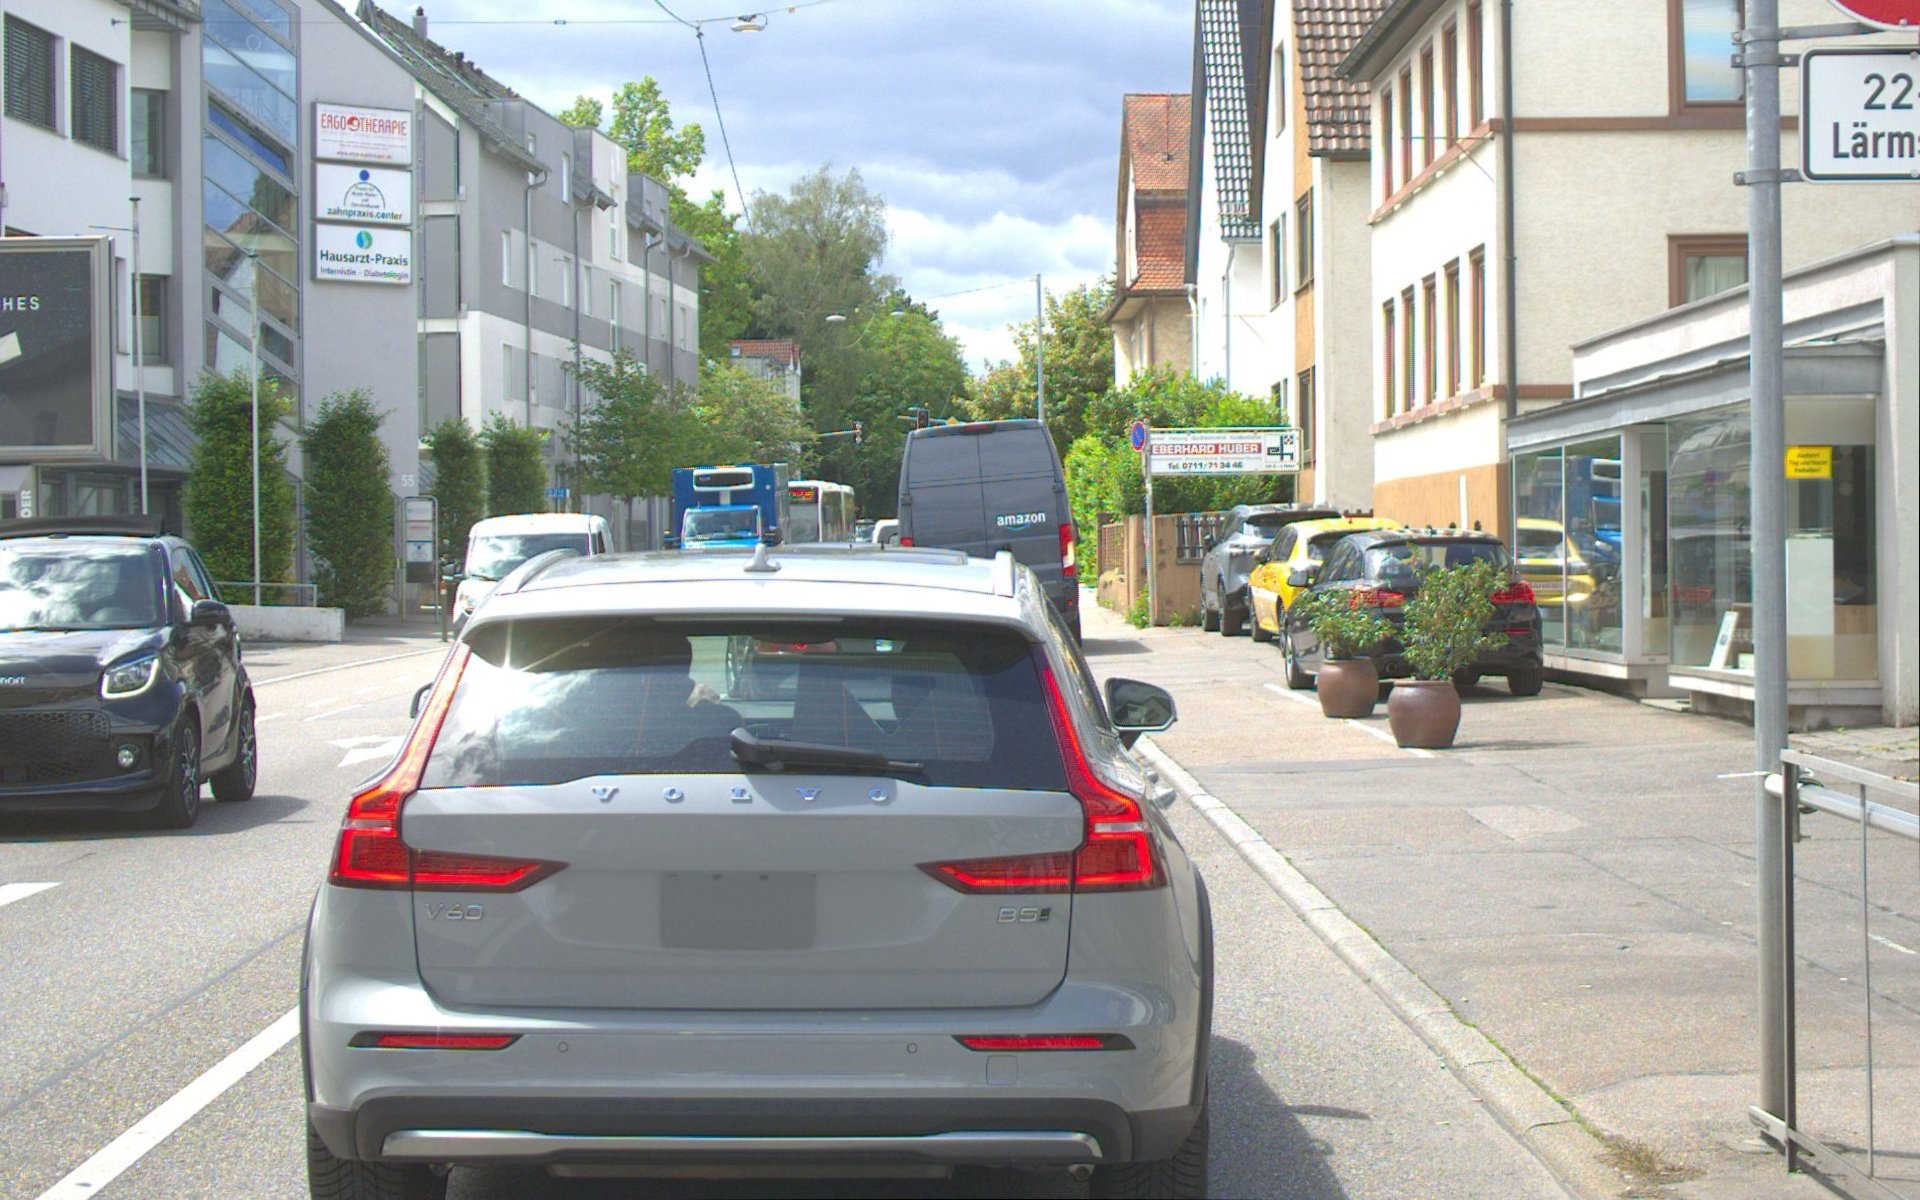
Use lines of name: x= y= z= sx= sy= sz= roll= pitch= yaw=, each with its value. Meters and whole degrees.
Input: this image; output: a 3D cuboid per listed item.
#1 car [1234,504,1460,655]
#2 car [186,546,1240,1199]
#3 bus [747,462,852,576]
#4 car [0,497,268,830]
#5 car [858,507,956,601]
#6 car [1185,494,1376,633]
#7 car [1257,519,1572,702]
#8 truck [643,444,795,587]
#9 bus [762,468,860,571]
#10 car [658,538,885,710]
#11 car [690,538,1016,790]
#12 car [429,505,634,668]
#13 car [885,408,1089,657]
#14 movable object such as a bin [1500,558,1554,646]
car: x=4.292 y=-0.281 z=38.747 sx=1.877 sy=1.442 sz=4.308 roll=-1 pitch=3 yaw=-2
car: x=-0.405 y=0.615 z=8.173 sx=1.896 sy=1.448 sz=3.968 roll=0 pitch=1 yaw=1
bus: x=-4.642 y=-2.358 z=101.177 sx=2.682 sy=3.153 sz=10.185 roll=-1 pitch=1 yaw=-1
car: x=-4.798 y=0.292 z=18.416 sx=1.676 sy=1.629 sz=2.834 roll=-1 pitch=1 yaw=-2
car: x=-1.143 y=-1.032 z=75.684 sx=1.993 sy=2.007 sz=4.000 roll=0 pitch=1 yaw=1
car: x=3.996 y=-0.488 z=43.533 sx=1.860 sy=1.606 sz=4.586 roll=-2 pitch=1 yaw=-1
car: x=3.895 y=0.035 z=30.242 sx=1.968 sy=1.442 sz=4.536 roll=-1 pitch=1 yaw=-2
truck: x=-5.465 y=-1.933 z=79.322 sx=2.853 sy=3.082 sz=8.089 roll=-1 pitch=1 yaw=0
bus: x=-4.713 y=-2.573 z=110.288 sx=2.716 sy=3.153 sz=8.069 roll=-1 pitch=1 yaw=0
car: x=-1.788 y=0.172 z=31.438 sx=1.896 sy=1.441 sz=3.969 roll=0 pitch=1 yaw=-6
car: x=-0.594 y=0.340 z=22.030 sx=1.896 sy=1.441 sz=3.969 roll=0 pitch=1 yaw=1
car: x=-5.074 y=-0.200 z=41.253 sx=1.945 sy=1.814 sz=4.279 roll=-1 pitch=1 yaw=-1
car: x=0.283 y=-0.823 z=41.752 sx=2.252 sy=2.786 sz=5.569 roll=-1 pitch=1 yaw=0
movable object such as a bin: x=6.051 y=0.016 z=36.687 sx=0.501 sy=0.922 sz=0.598 roll=-1 pitch=1 yaw=4
